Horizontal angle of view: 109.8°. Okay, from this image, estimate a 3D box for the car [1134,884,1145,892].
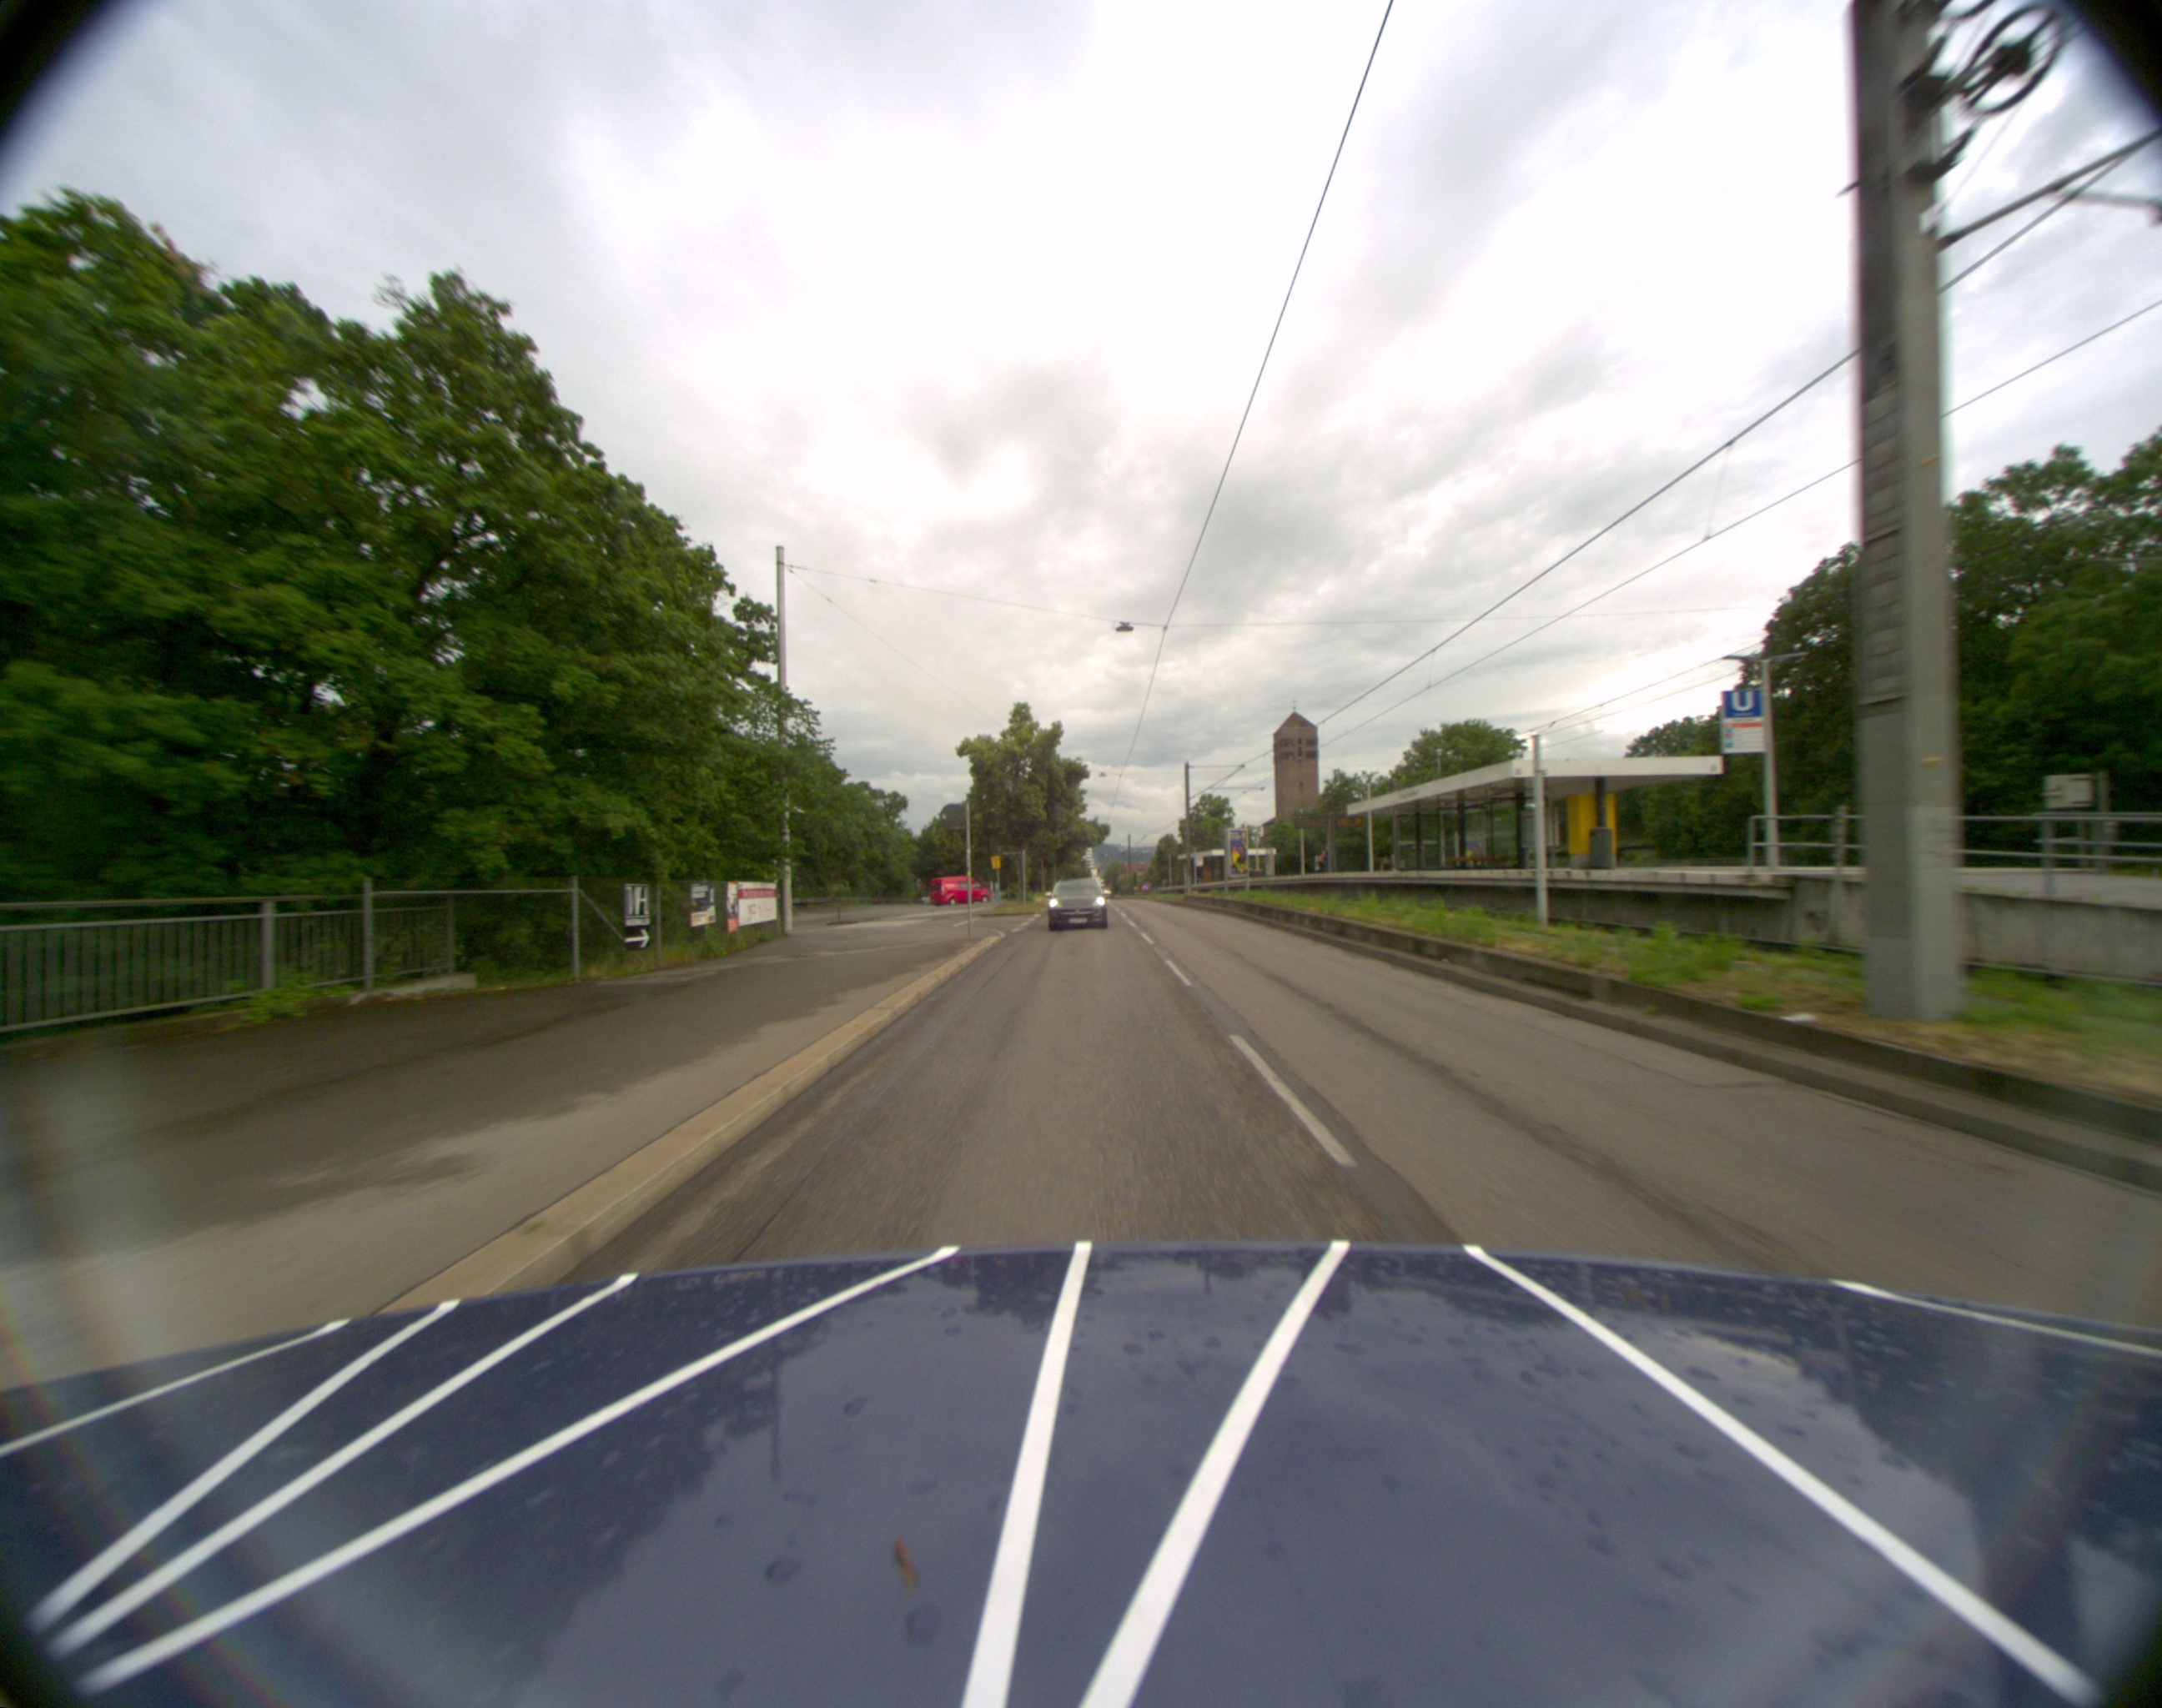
[{"bbox_3d":[13.369,7.711,173.126,1.999,1.613,4.519,-2,-3,-2],"label":"car"}]

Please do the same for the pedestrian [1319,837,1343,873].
[{"bbox_3d":[13.694,0.045,41.674,0.746,1.897,0.841,-2,-4,-21],"label":"pedestrian"}]

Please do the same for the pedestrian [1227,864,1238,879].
[{"bbox_3d":[12.093,1.402,60.658,0.712,1.218,0.619,-2,-2,-1],"label":"pedestrian"}]

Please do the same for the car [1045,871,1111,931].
[{"bbox_3d":[-0.100,1.421,23.171,1.746,1.543,4.496,-3,-3,-1],"label":"car"}]

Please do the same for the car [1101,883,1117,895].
[{"bbox_3d":[3.584,4.421,96.120,1.768,1.502,4.344,-2,-3,4],"label":"car"}]

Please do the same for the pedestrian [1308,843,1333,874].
[{"bbox_3d":[13.408,0.249,42.540,0.798,1.636,0.918,-2,-4,-22],"label":"pedestrian"}]

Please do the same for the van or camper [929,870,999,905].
[{"bbox_3d":[-9.560,2.709,62.328,2.037,2.390,5.402,-8,-4,43],"label":"van or camper"}]
